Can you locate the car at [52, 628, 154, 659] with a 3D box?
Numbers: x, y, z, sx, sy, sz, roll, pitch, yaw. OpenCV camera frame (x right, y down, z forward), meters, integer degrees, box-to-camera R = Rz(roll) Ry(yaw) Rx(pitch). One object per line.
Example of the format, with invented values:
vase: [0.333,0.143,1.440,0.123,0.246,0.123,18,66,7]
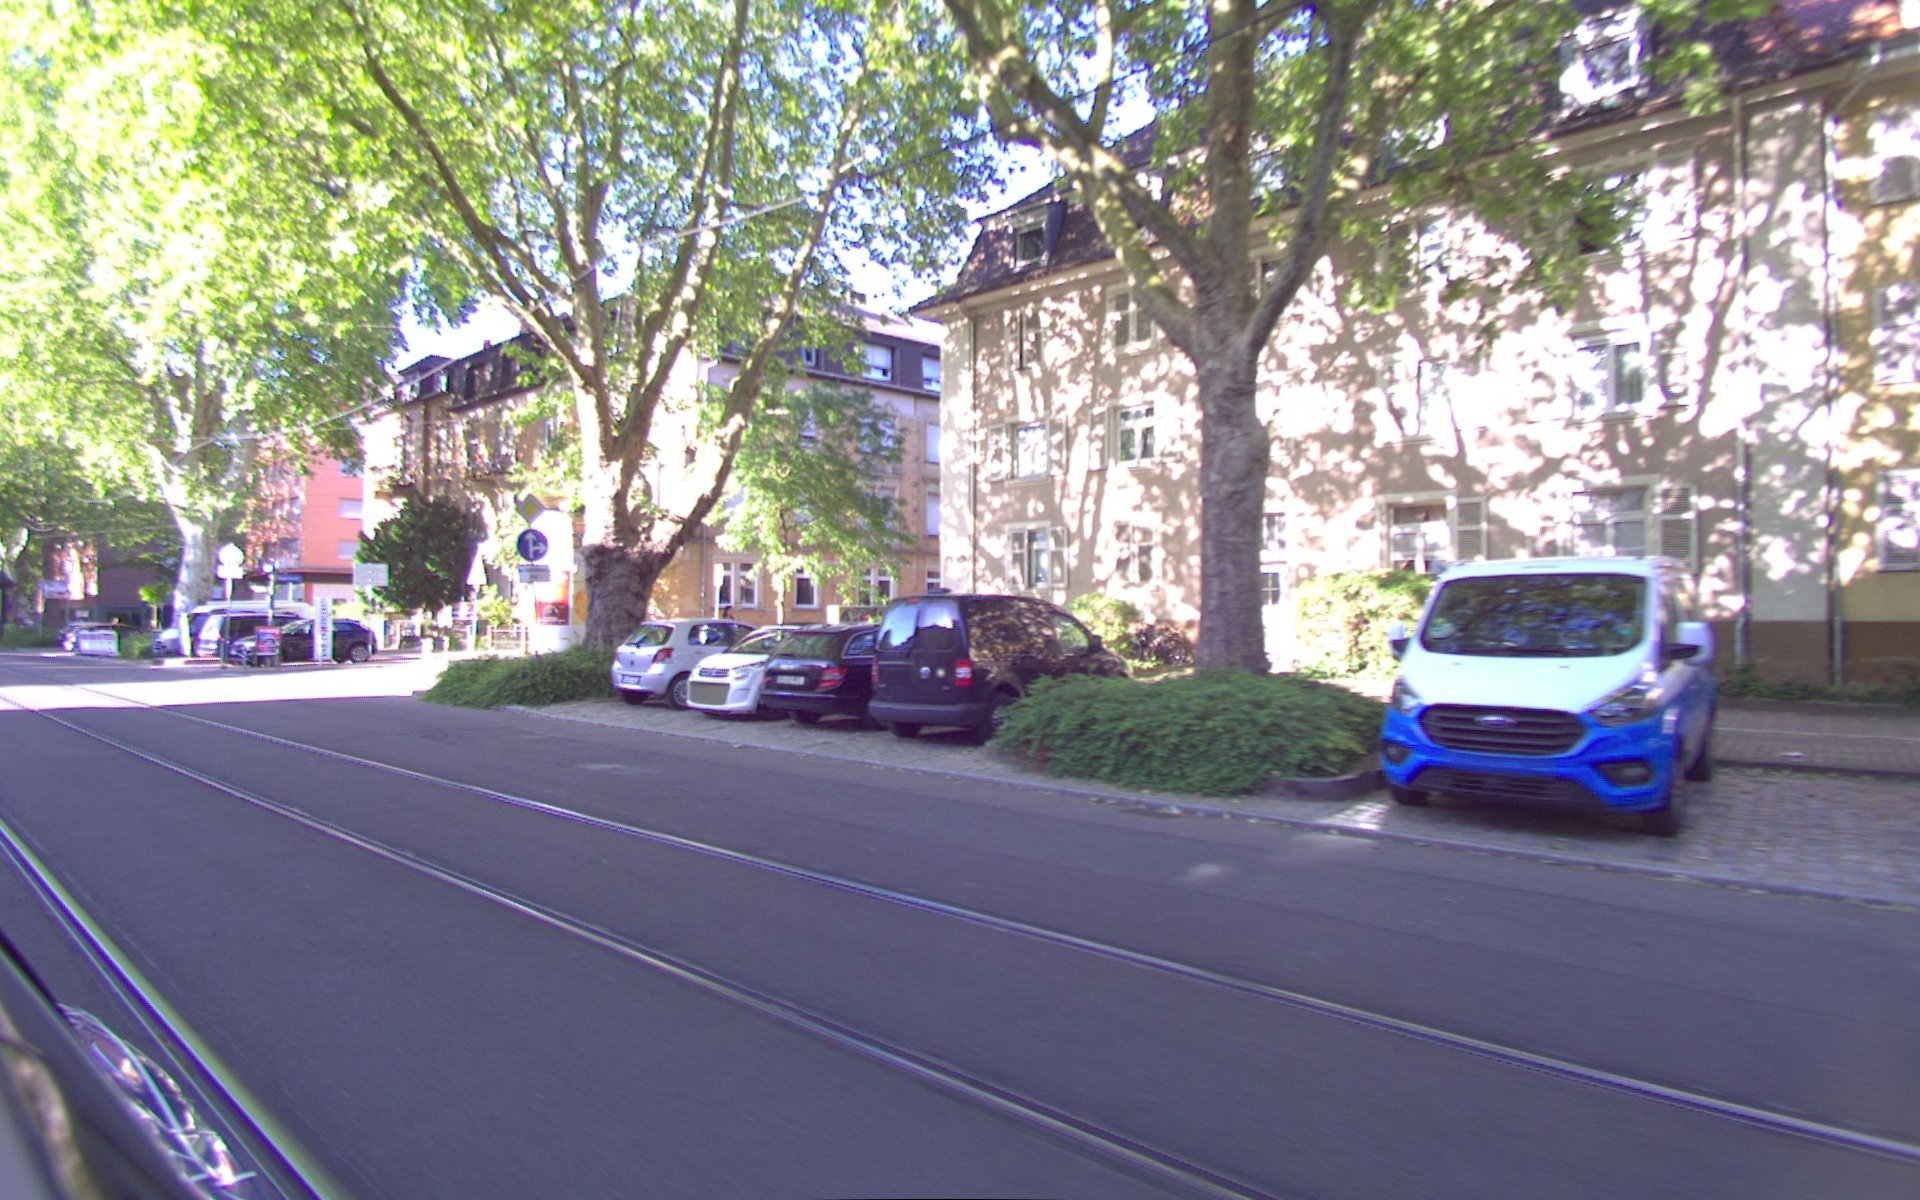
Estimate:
car: [-45.857,2.318,54.222,1.809,1.527,3.917,-2,-2,39]

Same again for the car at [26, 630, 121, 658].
car: [-51.438,2.541,58.758,1.809,1.527,3.917,-2,-2,39]

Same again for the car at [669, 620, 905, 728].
car: [-2.657,1.082,16.256,1.698,1.497,3.651,-1,-1,34]

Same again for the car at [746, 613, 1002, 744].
car: [-1.134,1.022,14.741,1.796,1.636,3.649,-1,-1,36]

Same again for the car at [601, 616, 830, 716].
car: [-4.300,1.094,18.093,3.638,1.565,1.705,0,-1,-44]

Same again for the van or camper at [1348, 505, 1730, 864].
van or camper: [5.236,0.548,8.767,2.117,2.206,4.772,-1,-1,39]

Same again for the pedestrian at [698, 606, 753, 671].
pedestrian: [-5.899,0.938,25.408,1.076,1.589,1.029,0,0,-31]

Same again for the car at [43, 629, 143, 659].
car: [-47.560,2.417,55.563,1.809,1.527,3.917,-2,-2,39]

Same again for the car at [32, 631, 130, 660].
car: [-49.320,2.547,56.837,1.809,1.527,3.917,-2,-2,39]

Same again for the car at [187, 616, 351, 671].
car: [-24.225,1.499,35.603,2.026,1.779,4.408,-2,-2,39]

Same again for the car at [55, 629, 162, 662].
car: [-43.454,2.298,51.709,1.809,1.527,3.917,-2,-2,39]

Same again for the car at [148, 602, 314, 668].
car: [-28.449,1.339,39.635,2.026,2.416,4.956,-2,-2,39]

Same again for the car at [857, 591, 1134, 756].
car: [0.575,0.838,13.131,1.703,1.828,3.644,-1,-1,40]

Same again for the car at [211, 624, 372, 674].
car: [-22.255,1.593,33.821,1.924,1.527,4.118,-2,-2,39]
